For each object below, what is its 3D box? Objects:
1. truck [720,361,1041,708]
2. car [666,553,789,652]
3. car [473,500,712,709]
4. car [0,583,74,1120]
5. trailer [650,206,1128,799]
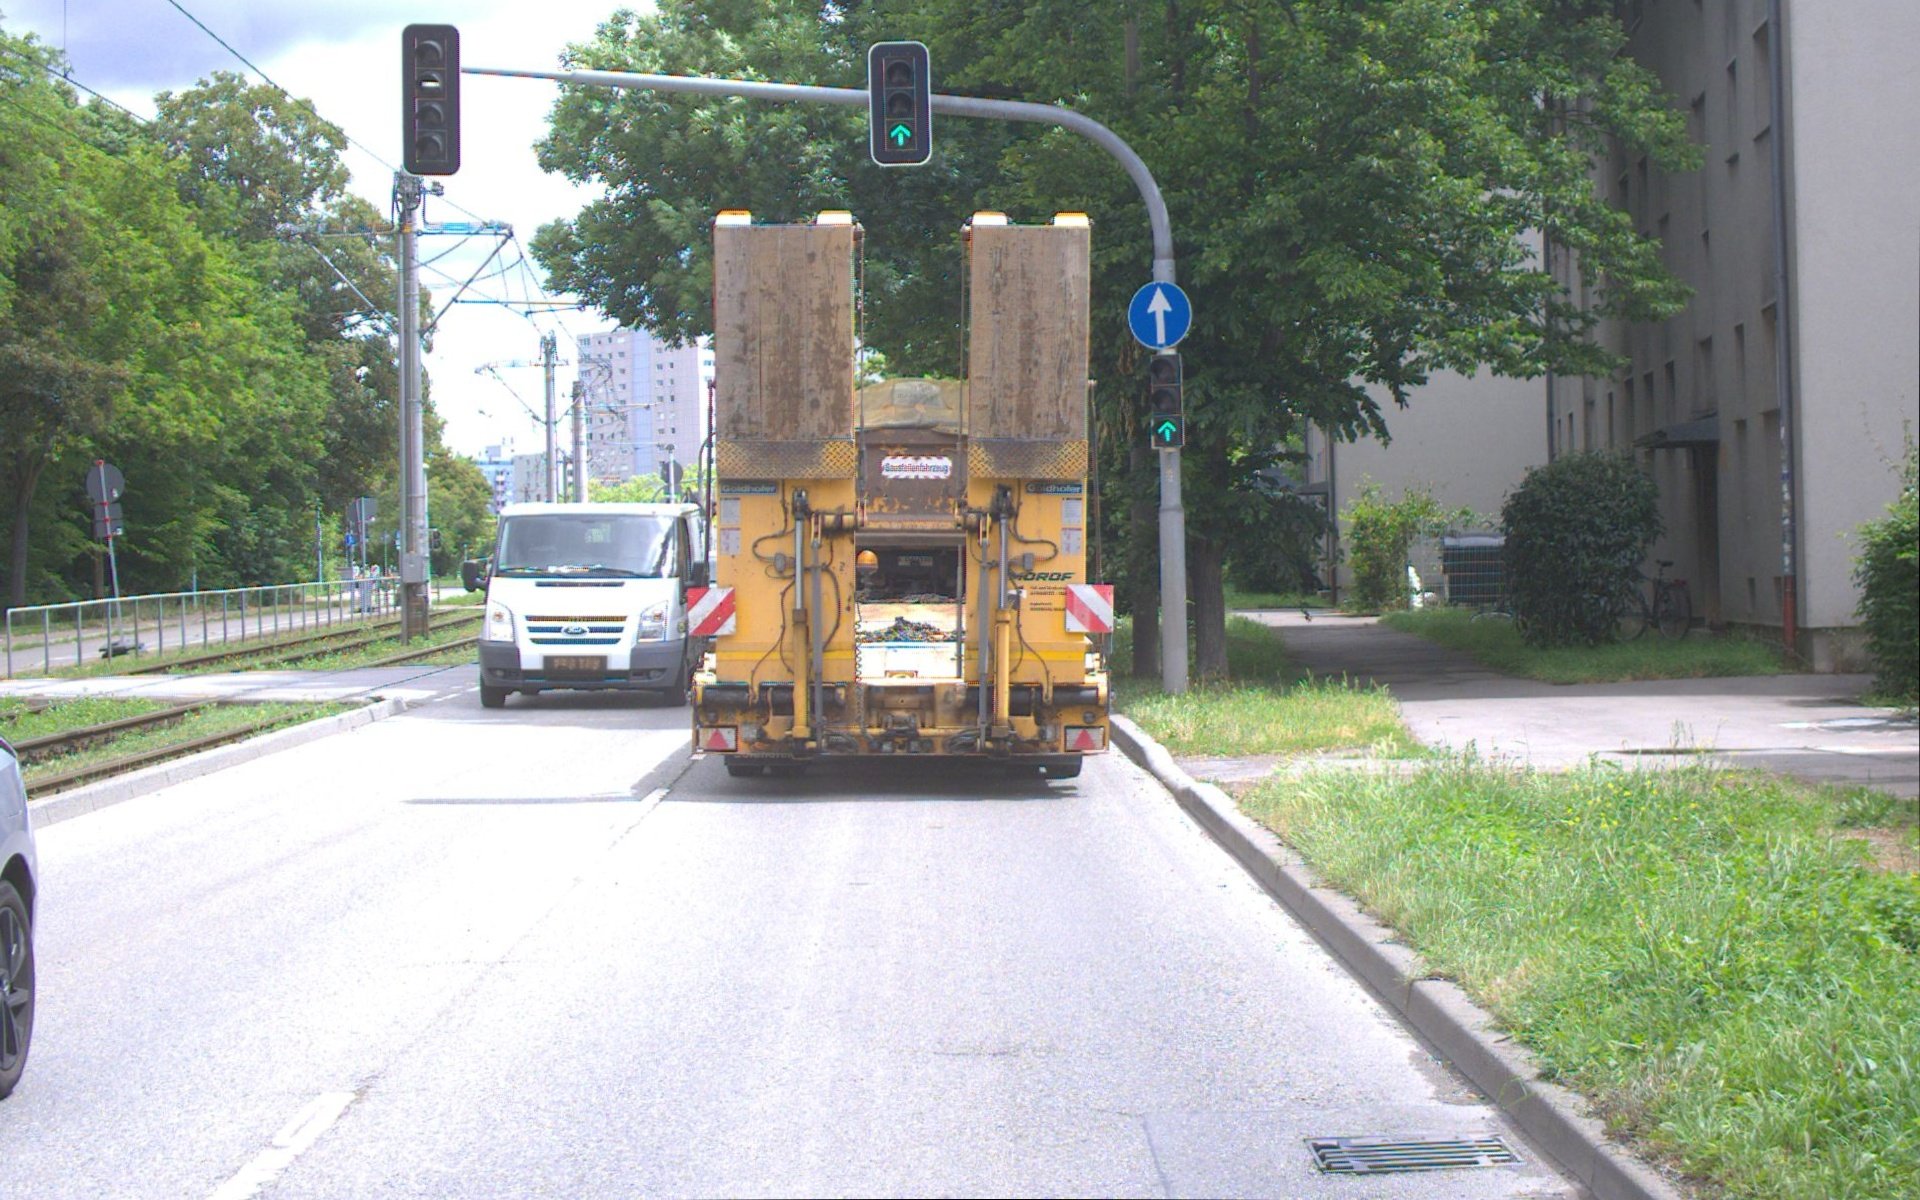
[{"bbox_3d":[-0.802,-0.668,35.327,2.917,3.156,7.681,0,1,-1],"label":"truck"},{"bbox_3d":[-3.632,0.011,54.223,1.680,1.445,4.074,-1,1,-1],"label":"car"},{"bbox_3d":[-3.558,0.007,34.016,1.942,1.933,4.317,0,1,-1],"label":"car"},{"bbox_3d":[-3.392,0.693,7.876,1.730,1.412,3.984,0,1,-1],"label":"car"},{"bbox_3d":[-0.581,-0.667,25.973,2.822,3.512,11.053,0,1,-2],"label":"trailer"}]
